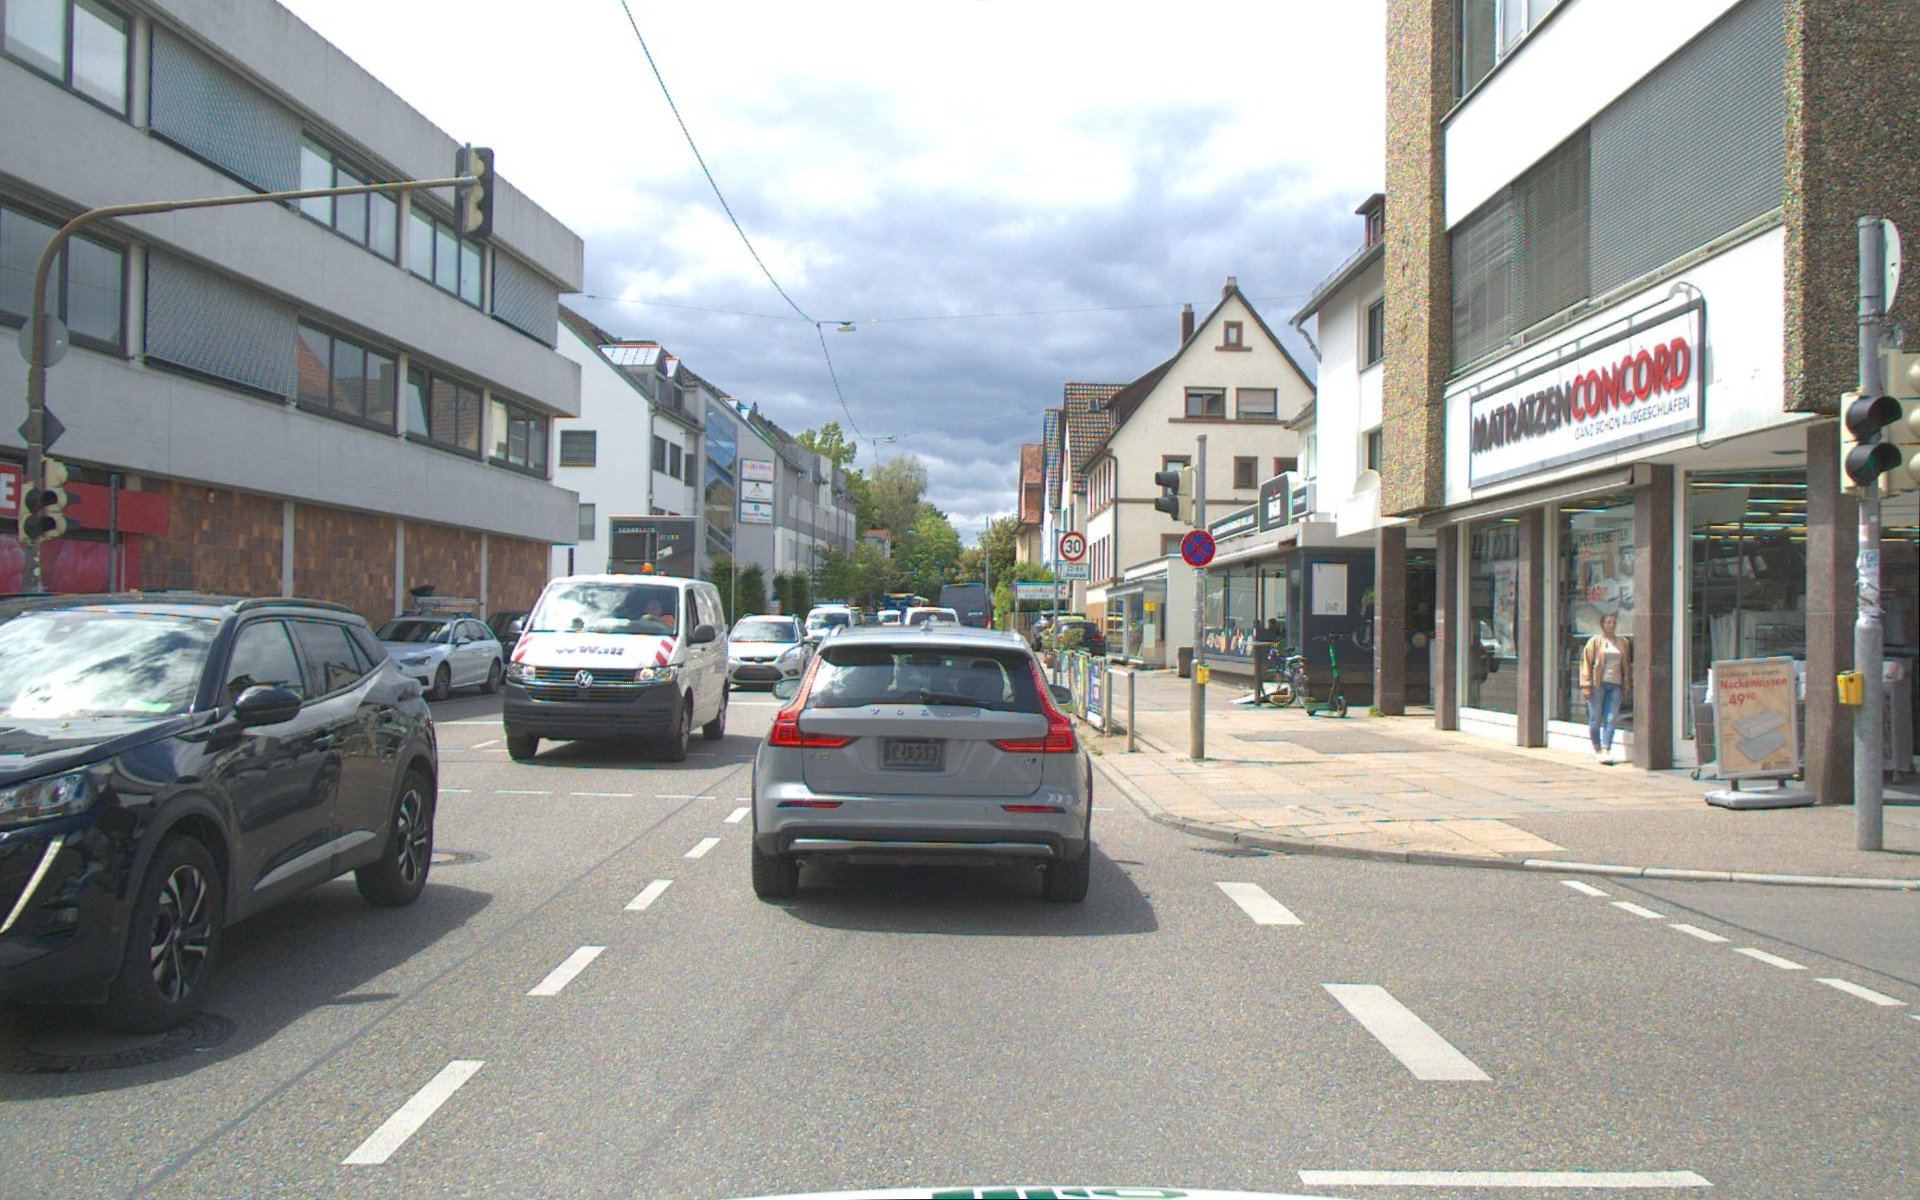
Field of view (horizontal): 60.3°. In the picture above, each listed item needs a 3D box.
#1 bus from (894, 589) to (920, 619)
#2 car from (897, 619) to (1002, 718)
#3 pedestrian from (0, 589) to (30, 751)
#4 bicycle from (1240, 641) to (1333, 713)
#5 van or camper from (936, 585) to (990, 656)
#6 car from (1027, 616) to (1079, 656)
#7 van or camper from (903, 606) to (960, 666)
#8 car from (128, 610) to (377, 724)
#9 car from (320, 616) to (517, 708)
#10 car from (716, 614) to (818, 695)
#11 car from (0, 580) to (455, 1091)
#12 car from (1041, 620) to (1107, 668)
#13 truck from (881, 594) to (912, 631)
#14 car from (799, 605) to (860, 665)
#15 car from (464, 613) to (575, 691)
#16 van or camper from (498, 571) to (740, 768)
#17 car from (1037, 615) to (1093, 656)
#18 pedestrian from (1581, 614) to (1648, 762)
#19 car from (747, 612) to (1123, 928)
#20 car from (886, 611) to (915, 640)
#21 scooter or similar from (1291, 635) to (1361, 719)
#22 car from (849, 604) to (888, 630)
[{"bbox_3d":[-4.859,0.394,153.259,2.229,2.715,7.428,0,0,0],"label":"bus"},{"bbox_3d":[-0.207,1.110,27.743,1.617,1.508,3.606,1,-1,-1],"label":"car"},{"bbox_3d":[-10.243,0.726,17.327,0.606,1.670,0.660,0,-1,0],"label":"pedestrian"},{"bbox_3d":[5.687,1.327,28.955,0.546,1.164,2.288,0,-1,-18],"label":"bicycle"},{"bbox_3d":[0.104,0.801,65.600,2.080,2.733,4.780,0,-1,0],"label":"van or camper"},{"bbox_3d":[3.760,1.481,67.567,1.844,1.526,3.970,1,-2,0],"label":"car"},{"bbox_3d":[-0.950,1.212,53.984,1.782,1.867,3.998,1,-3,-1],"label":"van or camper"},{"bbox_3d":[-10.399,0.953,24.677,1.748,1.490,4.088,2,-1,3],"label":"car"},{"bbox_3d":[-9.733,1.066,30.107,1.864,1.469,4.444,2,0,3],"label":"car"},{"bbox_3d":[-3.984,1.096,34.785,1.634,1.581,4.214,1,-1,0],"label":"car"},{"bbox_3d":[-3.522,0.722,6.909,1.648,1.523,3.966,0,-1,-1],"label":"car"},{"bbox_3d":[3.687,1.452,53.975,1.676,1.490,3.997,1,-2,-3],"label":"car"},{"bbox_3d":[-5.200,1.009,136.092,2.229,2.937,7.078,0,-1,0],"label":"truck"},{"bbox_3d":[-4.408,1.190,56.443,1.801,1.951,4.154,1,-1,-1],"label":"car"},{"bbox_3d":[-9.536,1.093,36.010,1.575,1.570,2.944,2,0,0],"label":"car"},{"bbox_3d":[-3.699,0.678,18.764,1.827,1.931,4.691,1,0,-1],"label":"van or camper"},{"bbox_3d":[3.967,1.366,62.888,1.844,1.440,3.970,1,-2,0],"label":"car"},{"bbox_3d":[6.700,0.892,16.943,0.493,1.485,0.500,-3,-2,12],"label":"pedestrian"},{"bbox_3d":[-0.168,0.857,10.014,1.799,1.512,3.998,1,-1,-2],"label":"car"},{"bbox_3d":[-4.002,1.742,111.425,1.761,1.848,3.999,1,-2,0],"label":"car"},{"bbox_3d":[5.736,1.204,25.995,0.336,1.275,1.235,-1,-1,-26],"label":"scooter or similar"},{"bbox_3d":[-5.122,0.926,92.950,1.725,1.451,4.002,0,0,4],"label":"car"}]
